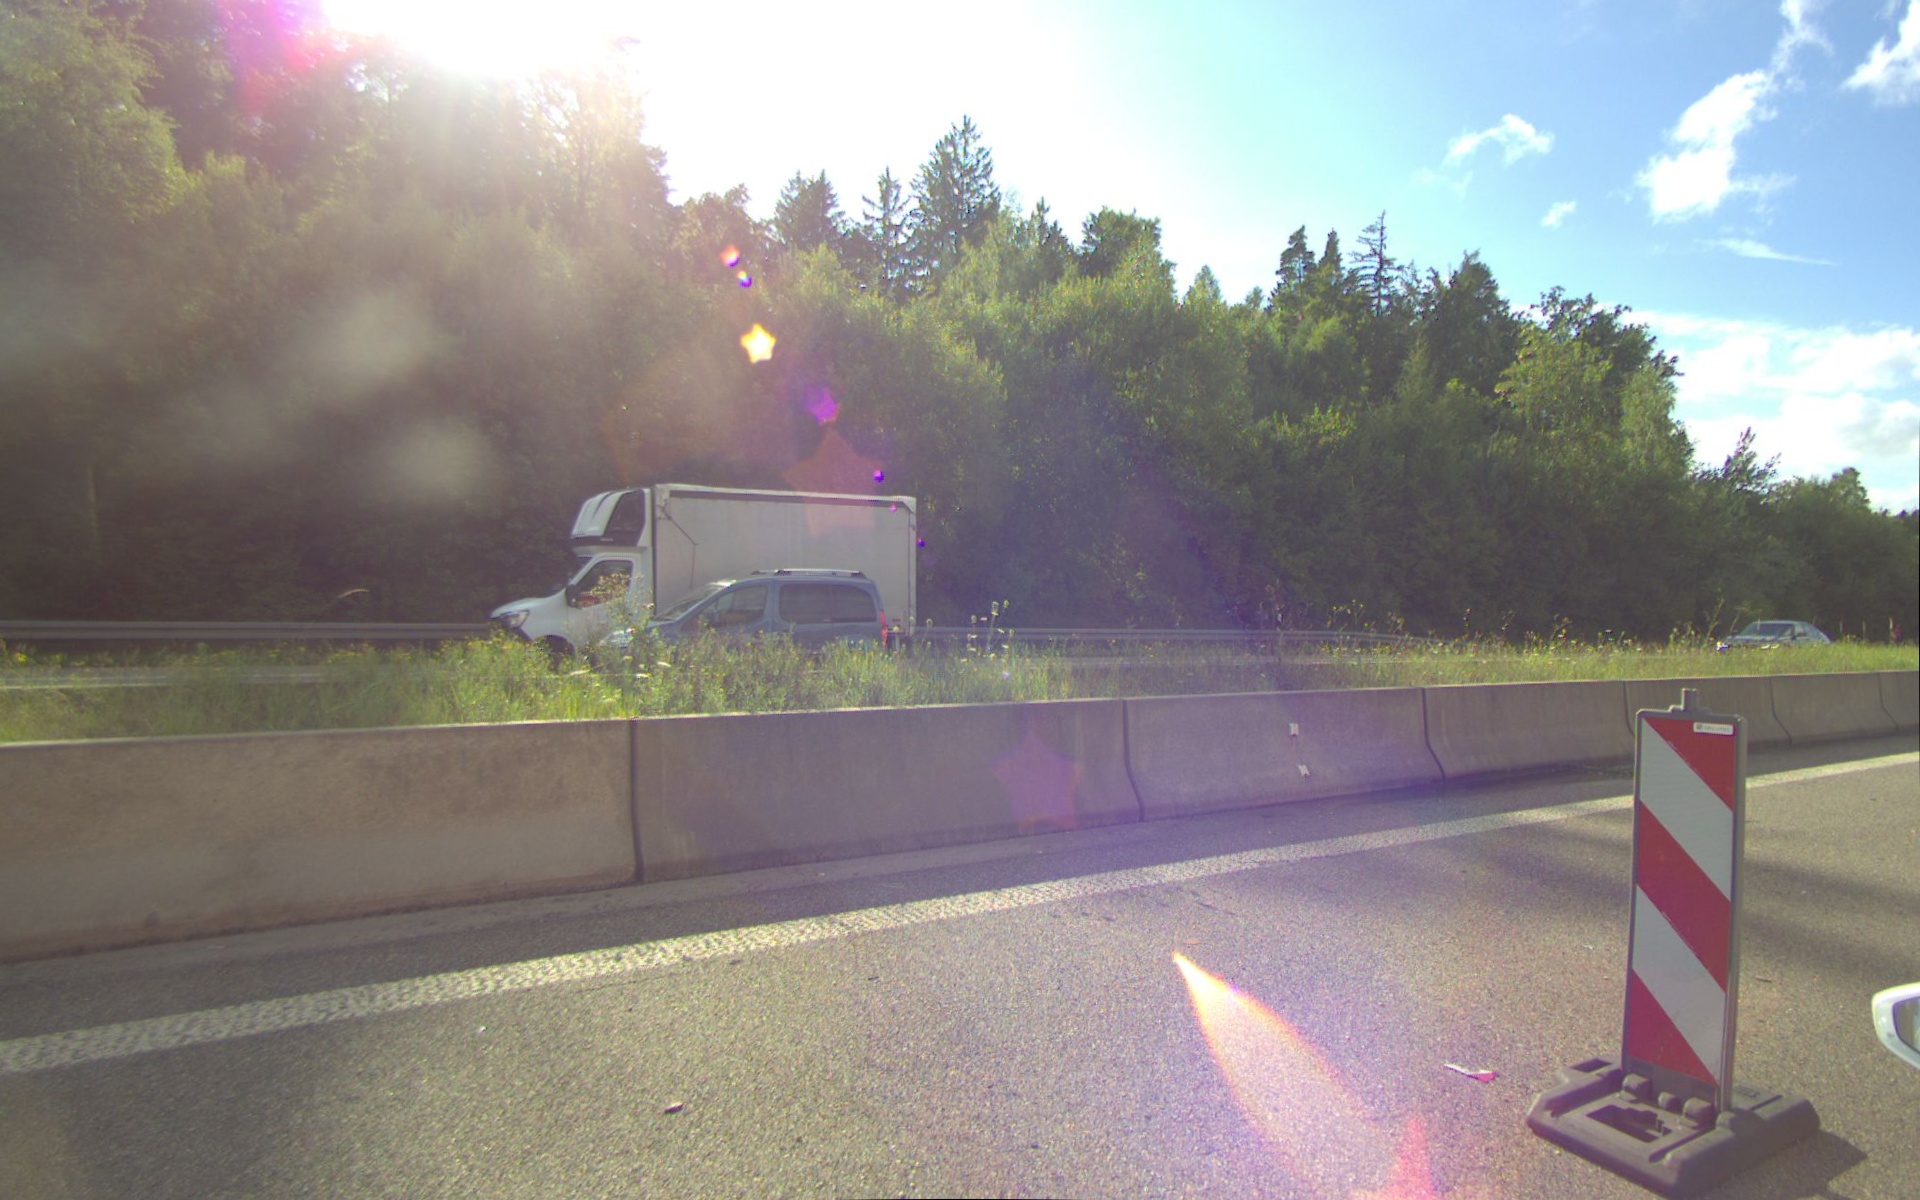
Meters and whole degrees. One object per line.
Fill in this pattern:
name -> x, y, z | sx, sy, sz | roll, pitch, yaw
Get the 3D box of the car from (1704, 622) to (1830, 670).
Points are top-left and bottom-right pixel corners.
car -> 26.361, 1.493, 32.783 | 4.260, 1.406, 1.771 | 2, 0, -30

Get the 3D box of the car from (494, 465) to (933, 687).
car -> -4.339, -0.284, 18.423 | 7.367, 3.415, 2.474 | 2, 0, -31

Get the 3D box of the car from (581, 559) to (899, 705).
car -> -3.131, 0.417, 14.428 | 4.070, 1.837, 1.935 | 1, 0, -30

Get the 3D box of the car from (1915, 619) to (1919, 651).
car -> 64.483, 2.347, 65.597 | 3.953, 2.040, 1.984 | 2, 0, -30
